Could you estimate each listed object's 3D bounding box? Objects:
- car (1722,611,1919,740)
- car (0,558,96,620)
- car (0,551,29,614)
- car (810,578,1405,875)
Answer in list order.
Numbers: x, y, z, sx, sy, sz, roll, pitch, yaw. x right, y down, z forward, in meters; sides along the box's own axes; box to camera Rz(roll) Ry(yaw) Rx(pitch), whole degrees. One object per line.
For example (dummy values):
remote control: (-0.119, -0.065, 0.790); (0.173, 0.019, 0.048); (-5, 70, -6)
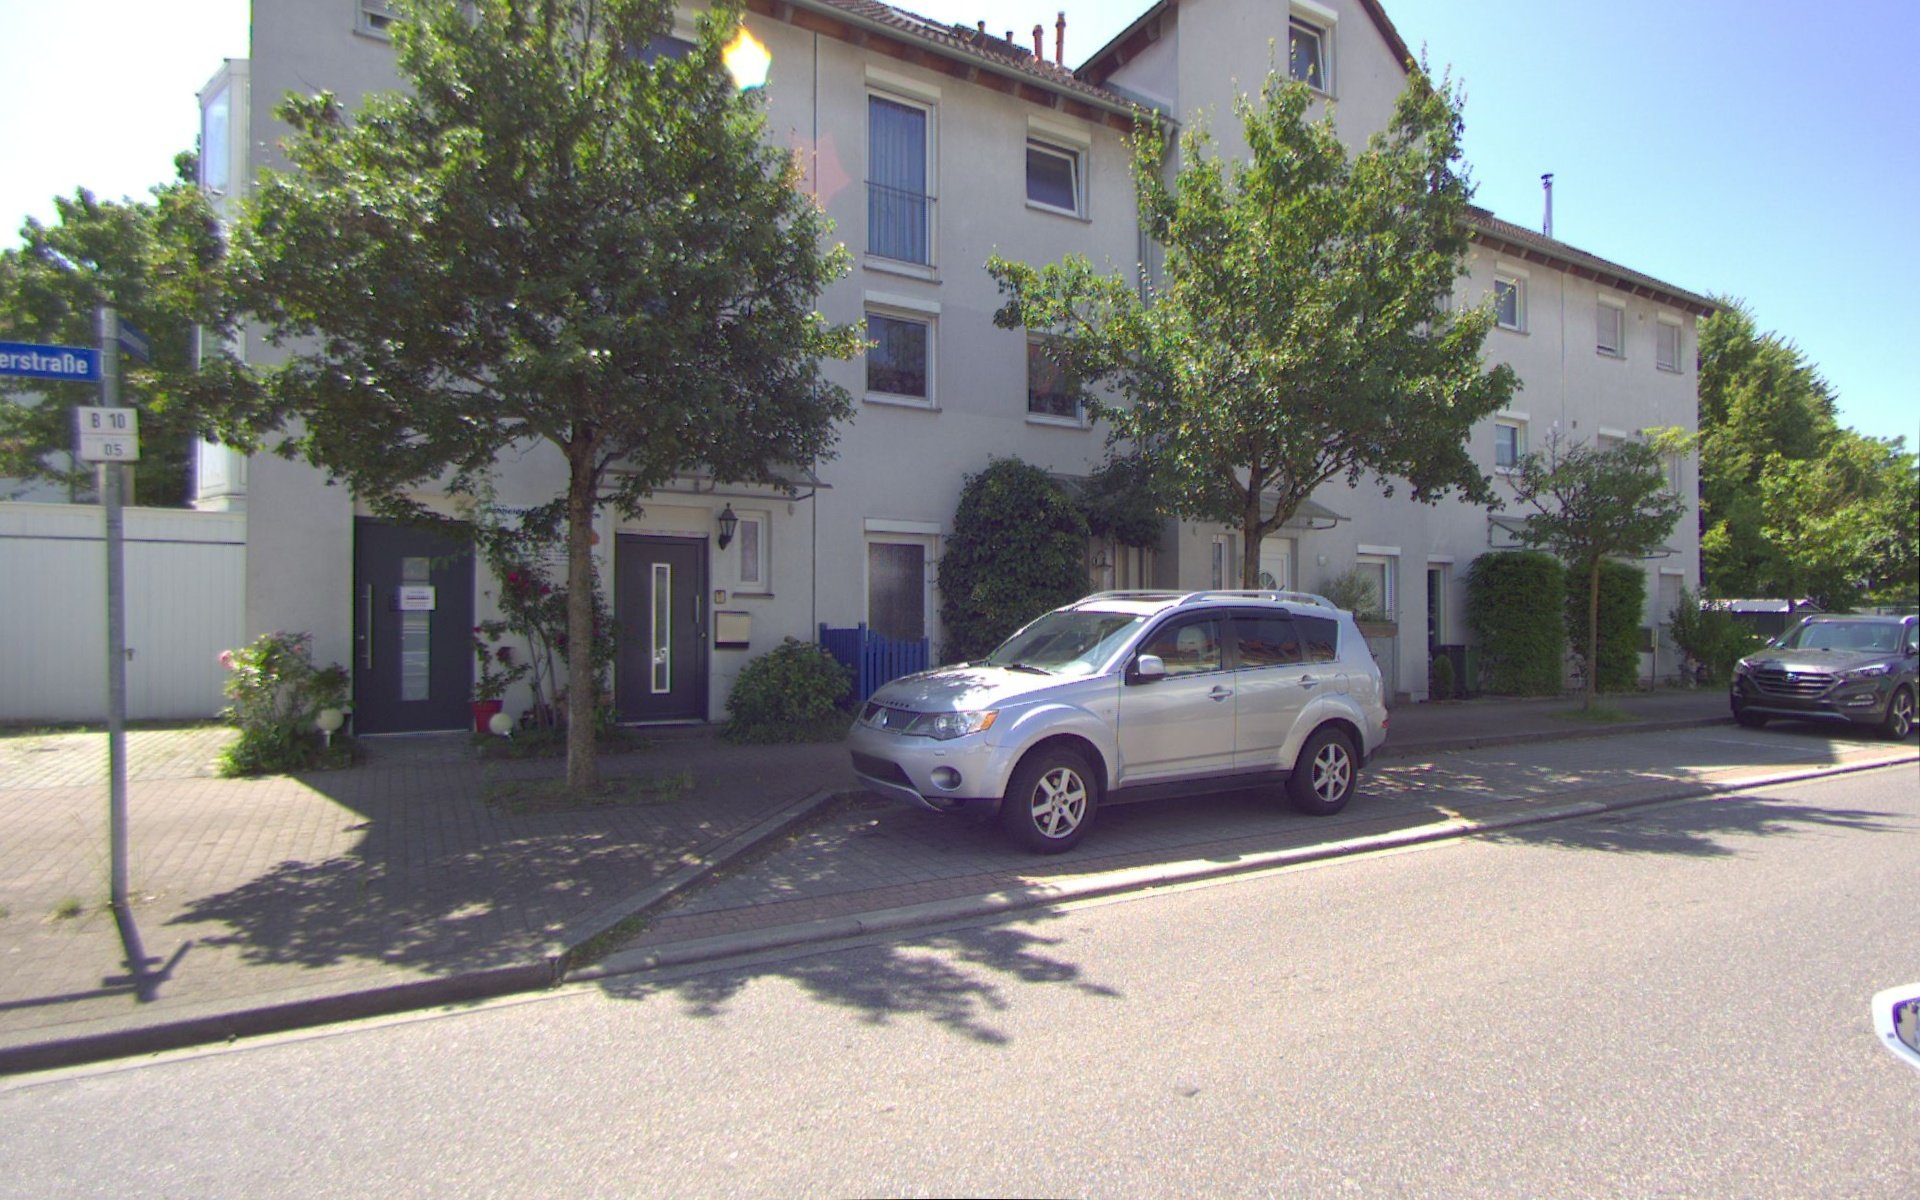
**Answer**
car: (12.991, 1.008, 14.578); (3.950, 1.641, 1.684); (1, 0, -30)
car: (-23.813, -0.309, 25.428); (1.668, 1.447, 3.980); (1, 1, -21)
car: (-25.951, -0.483, 25.420); (1.720, 1.645, 3.988); (2, 0, -14)
car: (1.262, 0.762, 7.696); (4.474, 1.709, 1.697); (1, 0, -31)
